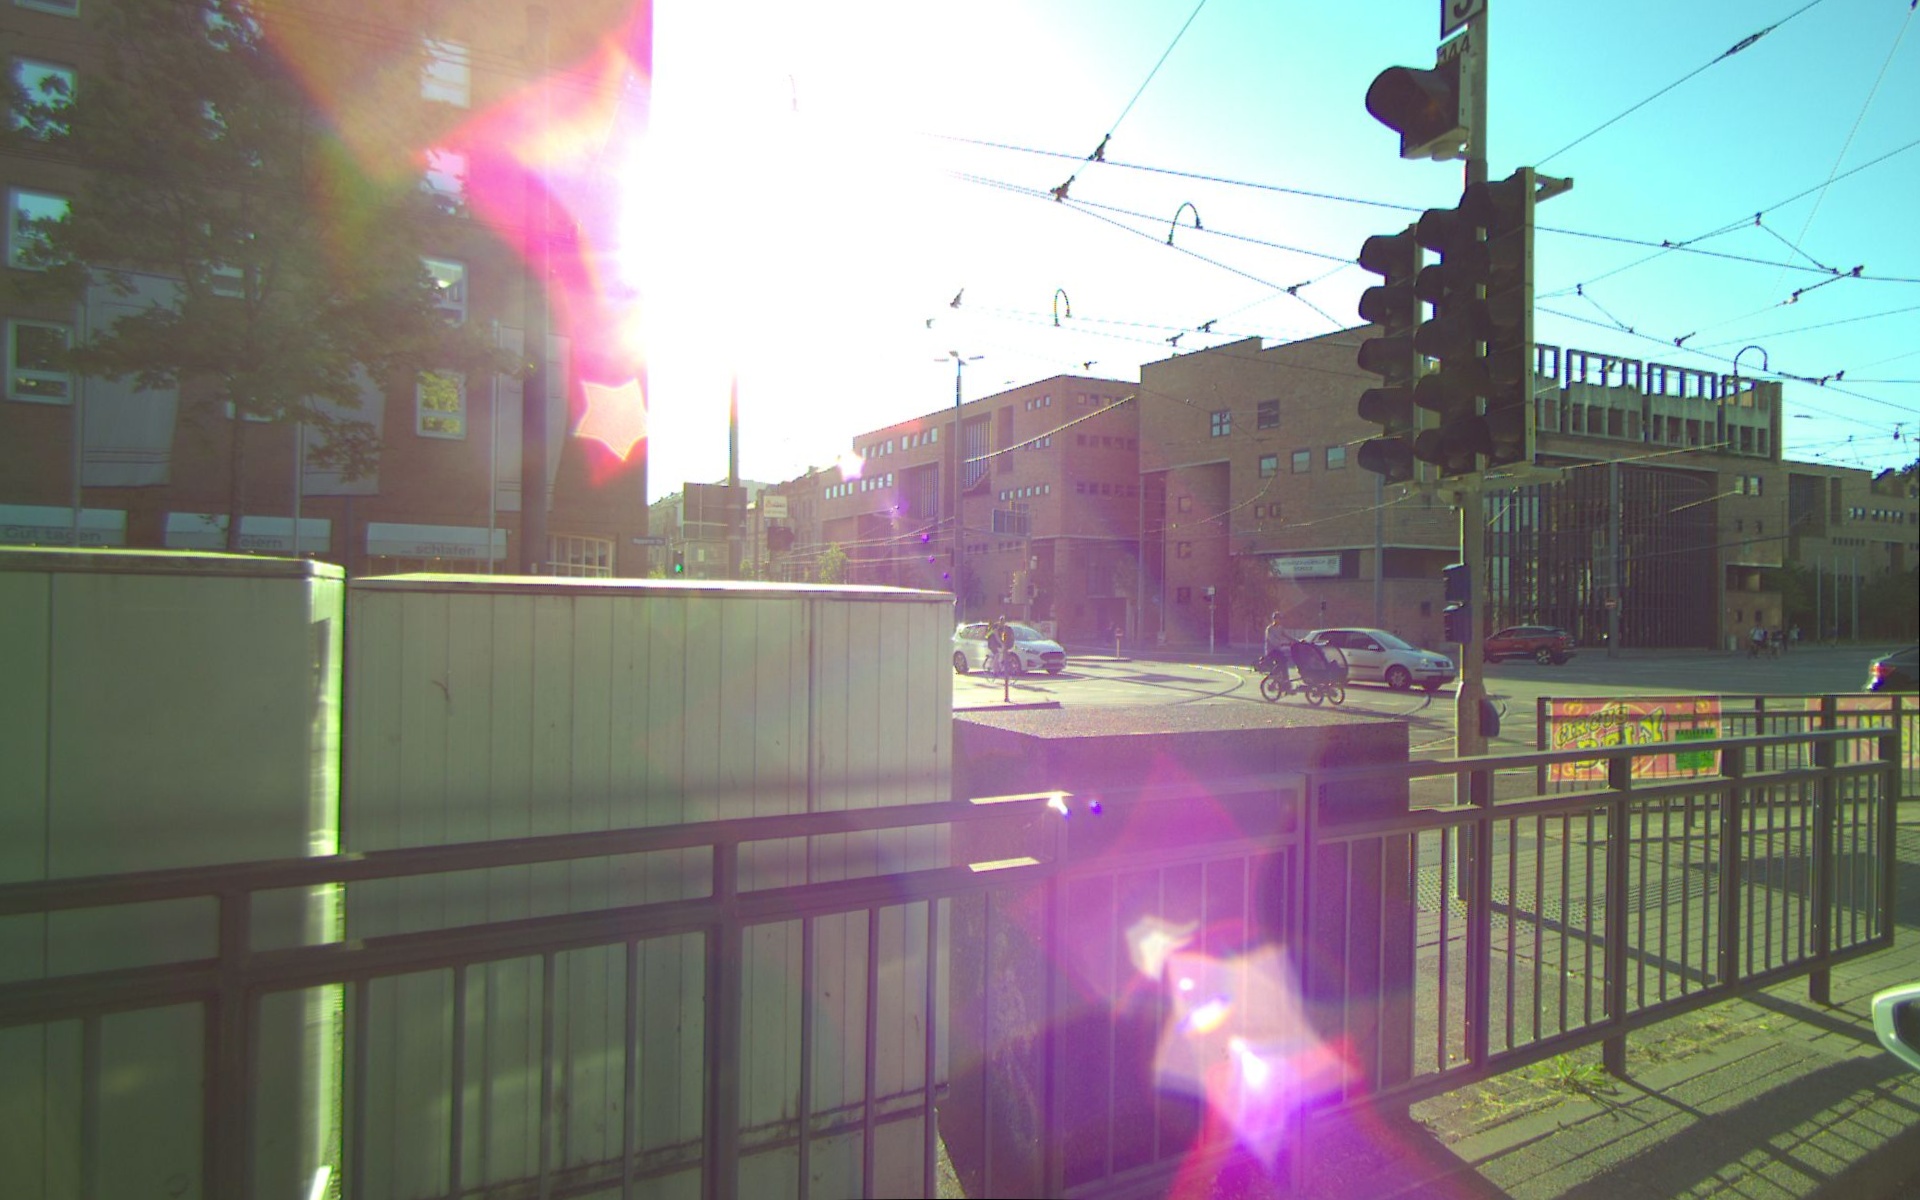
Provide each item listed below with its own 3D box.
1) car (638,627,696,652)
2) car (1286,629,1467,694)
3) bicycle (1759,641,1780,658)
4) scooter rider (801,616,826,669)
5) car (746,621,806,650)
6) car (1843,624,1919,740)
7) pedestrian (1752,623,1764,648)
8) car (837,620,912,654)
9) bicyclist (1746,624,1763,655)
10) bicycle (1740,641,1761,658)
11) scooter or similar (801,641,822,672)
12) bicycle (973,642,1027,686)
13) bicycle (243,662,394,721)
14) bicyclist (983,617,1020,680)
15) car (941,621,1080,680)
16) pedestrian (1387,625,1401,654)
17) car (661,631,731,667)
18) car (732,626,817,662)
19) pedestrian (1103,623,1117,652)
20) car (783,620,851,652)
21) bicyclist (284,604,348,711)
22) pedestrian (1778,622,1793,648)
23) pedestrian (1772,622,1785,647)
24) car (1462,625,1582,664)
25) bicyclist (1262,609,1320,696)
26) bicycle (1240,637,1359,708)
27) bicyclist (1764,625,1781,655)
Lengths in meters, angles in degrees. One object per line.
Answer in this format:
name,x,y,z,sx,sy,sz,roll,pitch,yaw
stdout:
car,-17.130,2.277,58.524,1.980,1.398,4.351,1,-2,-35
car,10.399,1.480,25.292,1.806,1.453,3.884,1,-1,-34
bicycle,45.117,2.745,55.957,1.823,0.893,0.509,1,-2,-38
scooter rider,-5.402,1.555,36.992,0.727,1.921,0.661,1,-2,-27
car,-11.366,2.176,61.850,1.981,1.719,4.315,1,-2,-36
car,14.804,1.145,13.245,1.805,1.604,4.457,1,-1,-32
pedestrian,58.258,2.602,73.292,0.538,1.834,0.489,1,-1,-23
car,-4.484,1.894,52.128,1.981,1.719,4.315,1,-2,-36
bicyclist,44.637,2.210,56.439,0.782,1.697,0.589,1,-1,-36
bicycle,44.464,2.775,56.514,1.823,0.893,0.509,1,-2,-38
scooter or similar,-5.489,2.067,37.012,0.397,1.119,1.202,1,-1,-26
bicycle,1.085,1.734,27.539,0.621,1.078,1.916,1,-1,-27
bicycle,-11.159,1.580,17.573,2.156,0.946,0.663,1,-1,-27
bicyclist,1.127,1.313,27.469,0.631,1.686,0.901,1,-1,-27
car,1.566,1.570,32.873,1.981,1.750,4.800,1,-1,-36
pedestrian,24.498,2.242,56.724,0.560,1.635,0.545,0,-1,1
car,-11.094,2.016,42.149,1.625,1.416,3.269,1,-2,-39
car,-8.714,2.009,46.874,1.985,1.538,4.345,0,-1,-41
pedestrian,8.855,2.199,59.155,0.608,1.635,0.540,-1,2,-35
car,-8.128,2.009,56.786,1.981,1.719,4.315,1,-2,-36
bicyclist,-11.230,0.992,17.549,0.841,1.808,0.747,1,-1,-27
pedestrian,59.774,2.546,72.729,0.538,1.834,0.640,1,-1,-23
pedestrian,58.614,2.480,71.933,0.538,1.803,0.521,1,-1,-23
car,24.406,1.903,43.731,1.781,1.623,4.206,1,-2,-40
bicyclist,6.595,1.032,20.048,0.682,1.703,0.901,1,-1,-26
bicycle,6.690,1.395,19.928,1.058,1.243,2.150,0,-1,-26
bicyclist,45.221,2.227,55.903,0.782,1.697,0.589,1,-1,-36
